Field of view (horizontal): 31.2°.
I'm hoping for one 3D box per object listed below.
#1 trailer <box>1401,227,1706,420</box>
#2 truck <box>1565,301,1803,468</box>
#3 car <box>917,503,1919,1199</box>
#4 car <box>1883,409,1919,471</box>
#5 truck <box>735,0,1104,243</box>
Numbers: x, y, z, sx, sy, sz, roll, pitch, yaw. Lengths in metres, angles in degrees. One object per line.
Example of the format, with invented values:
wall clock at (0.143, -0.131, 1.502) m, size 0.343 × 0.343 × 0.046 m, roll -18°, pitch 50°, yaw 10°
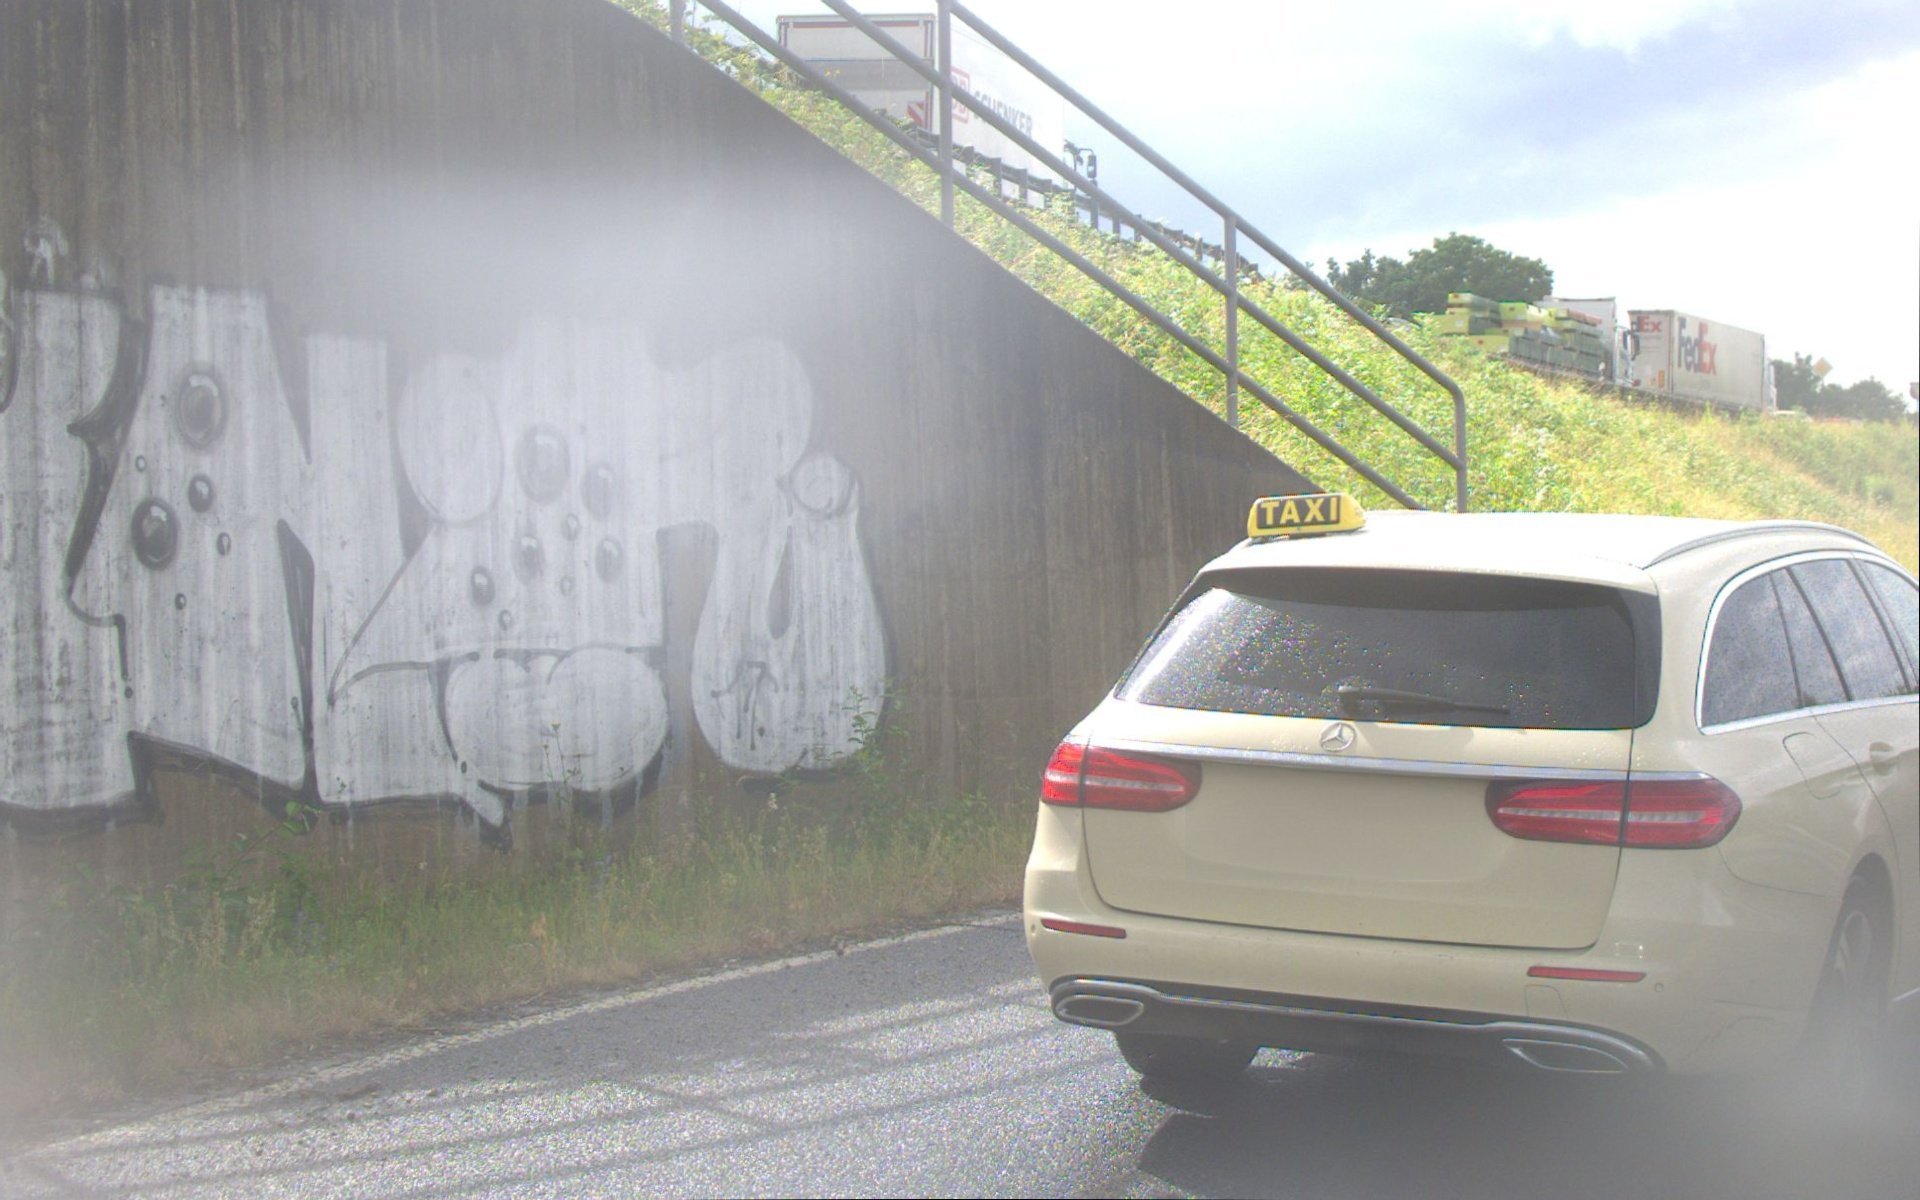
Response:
trailer at (18.151, -7.983, 102.935) m, size 4.418 × 3.942 × 20.193 m, roll 1°, pitch 0°, yaw 23°
truck at (25.722, -7.338, 120.852) m, size 4.466 × 4.488 × 19.352 m, roll 1°, pitch 0°, yaw 23°
car at (1.824, 0.495, 9.392) m, size 1.919 × 1.502 × 4.589 m, roll 0°, pitch 2°, yaw 28°
car at (33.521, -5.424, 117.003) m, size 3.990 × 2.007 × 1.825 m, roll 1°, pitch 0°, yaw 18°
truck at (-0.440, -8.243, 55.244) m, size 3.183 × 3.953 × 9.229 m, roll 1°, pitch 0°, yaw 17°
